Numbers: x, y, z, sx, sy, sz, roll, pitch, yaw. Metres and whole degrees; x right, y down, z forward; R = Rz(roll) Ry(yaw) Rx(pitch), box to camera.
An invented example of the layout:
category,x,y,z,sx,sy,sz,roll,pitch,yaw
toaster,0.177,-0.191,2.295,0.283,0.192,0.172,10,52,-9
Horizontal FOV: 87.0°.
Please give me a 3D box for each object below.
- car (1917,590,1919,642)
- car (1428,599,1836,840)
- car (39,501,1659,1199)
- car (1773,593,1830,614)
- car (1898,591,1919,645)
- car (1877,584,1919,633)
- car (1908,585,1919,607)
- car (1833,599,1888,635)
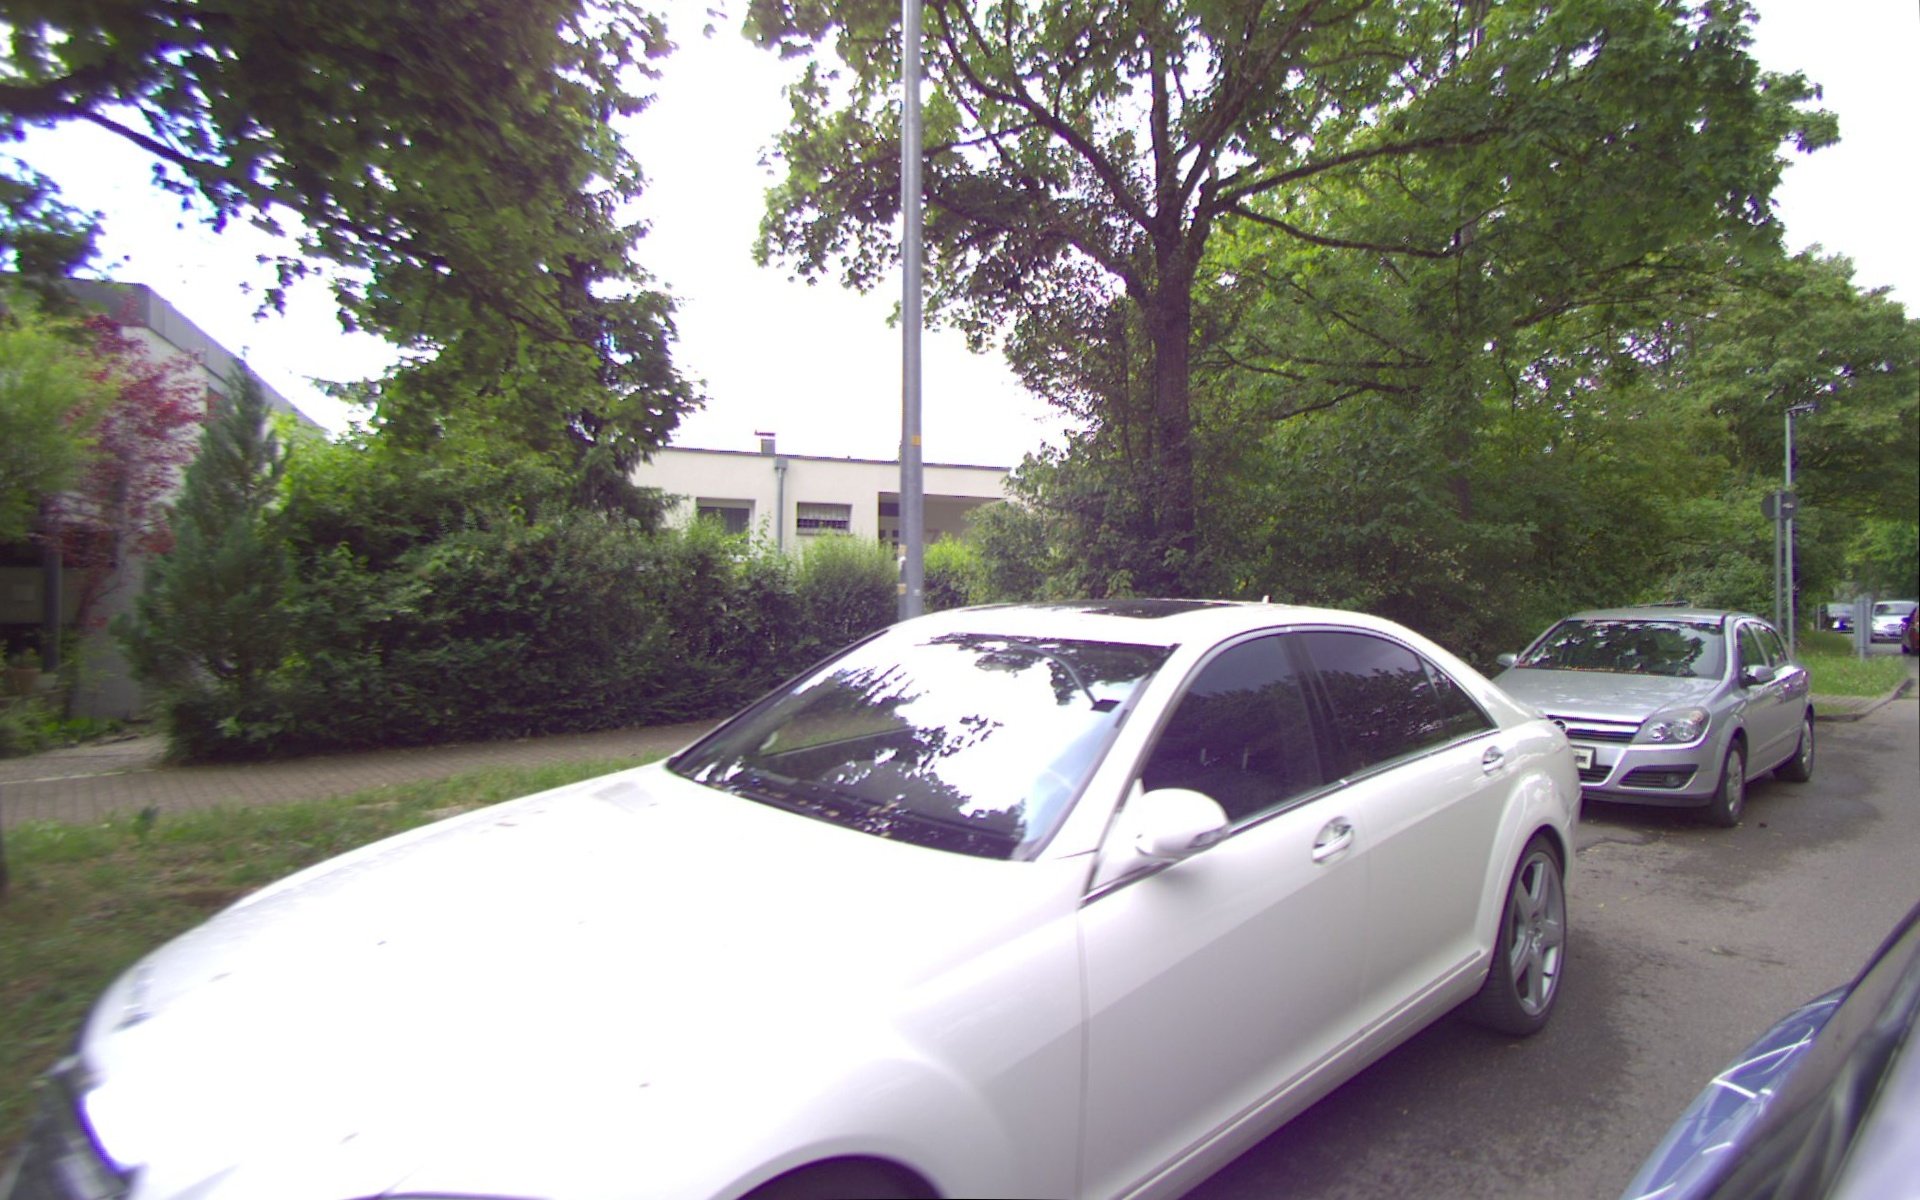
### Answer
category,x,y,z,sx,sy,sz,roll,pitch,yaw
car,28.514,0.500,28.461,1.990,1.531,3.944,1,1,39
car,5.545,0.721,8.155,3.989,1.428,1.795,0,1,-42
car,0.480,0.671,3.254,5.089,1.526,1.888,0,0,-43
car,64.053,0.246,77.118,1.827,1.511,3.980,-1,-1,16
car,28.407,0.481,28.699,1.935,1.551,4.037,-3,-1,33
car,36.532,0.292,38.589,1.989,1.715,3.945,-3,-1,39
car,73.190,-0.339,74.976,1.958,1.659,3.819,-2,-1,-17
car,47.560,0.871,53.499,1.990,1.693,3.942,-3,-1,40
